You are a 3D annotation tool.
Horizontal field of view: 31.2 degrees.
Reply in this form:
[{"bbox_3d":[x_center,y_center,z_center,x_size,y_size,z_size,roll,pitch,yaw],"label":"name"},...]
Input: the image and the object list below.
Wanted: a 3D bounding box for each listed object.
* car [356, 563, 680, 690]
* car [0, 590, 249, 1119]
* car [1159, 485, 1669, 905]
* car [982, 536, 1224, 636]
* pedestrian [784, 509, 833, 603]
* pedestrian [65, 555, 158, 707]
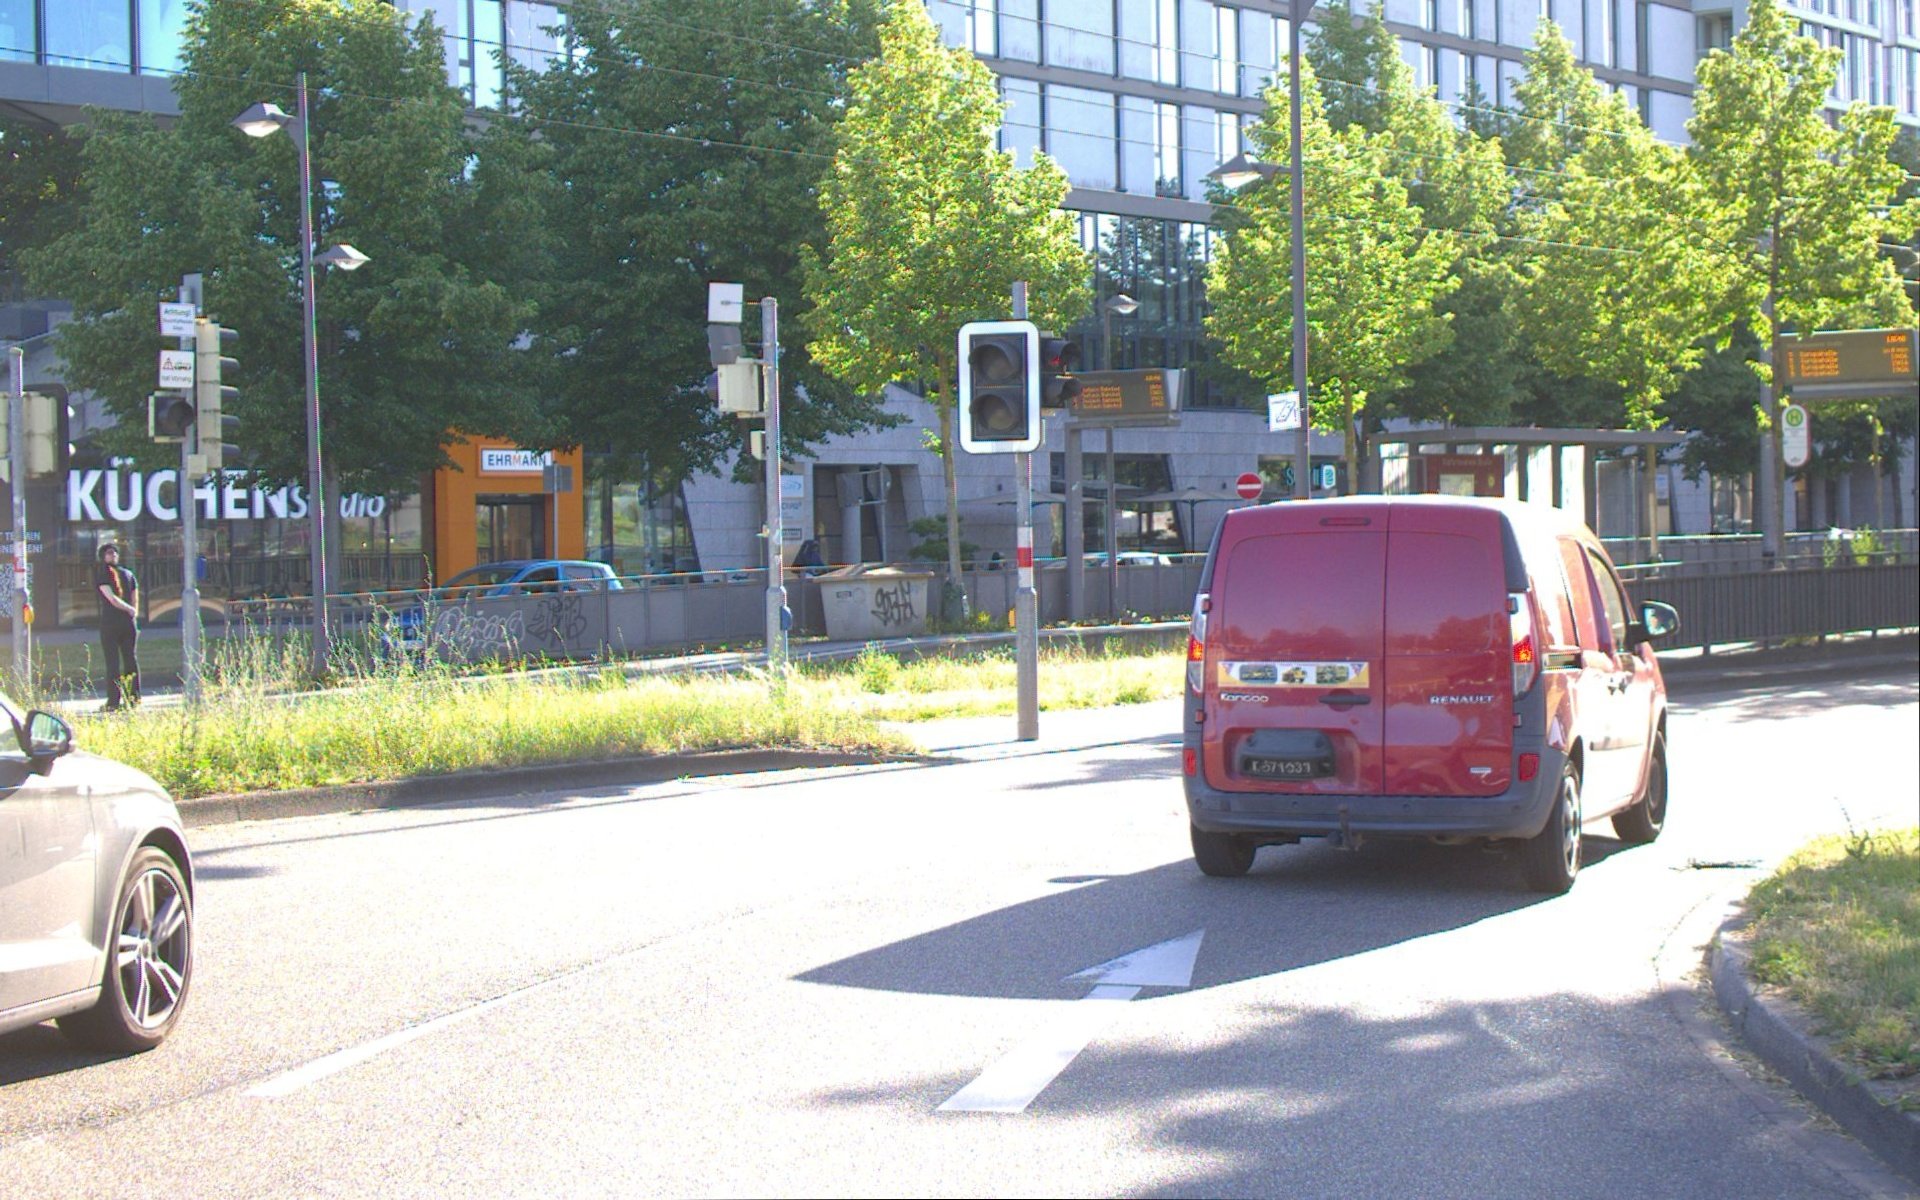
[{"bbox_3d":[-5.820,0.314,45.590,1.938,1.569,3.967,0,1,41],"label":"car"},{"bbox_3d":[-3.417,0.671,8.849,1.761,1.375,4.357,0,0,8],"label":"car"},{"bbox_3d":[2.343,0.406,16.879,1.804,1.807,3.806,0,0,18],"label":"car"},{"bbox_3d":[2.367,-0.250,56.128,1.938,1.569,3.967,0,1,40],"label":"car"},{"bbox_3d":[-3.266,-0.961,74.102,0.639,2.007,0.832,1,1,39],"label":"pedestrian"},{"bbox_3d":[-8.274,0.295,33.516,0.555,1.461,0.676,1,1,35],"label":"pedestrian"}]
